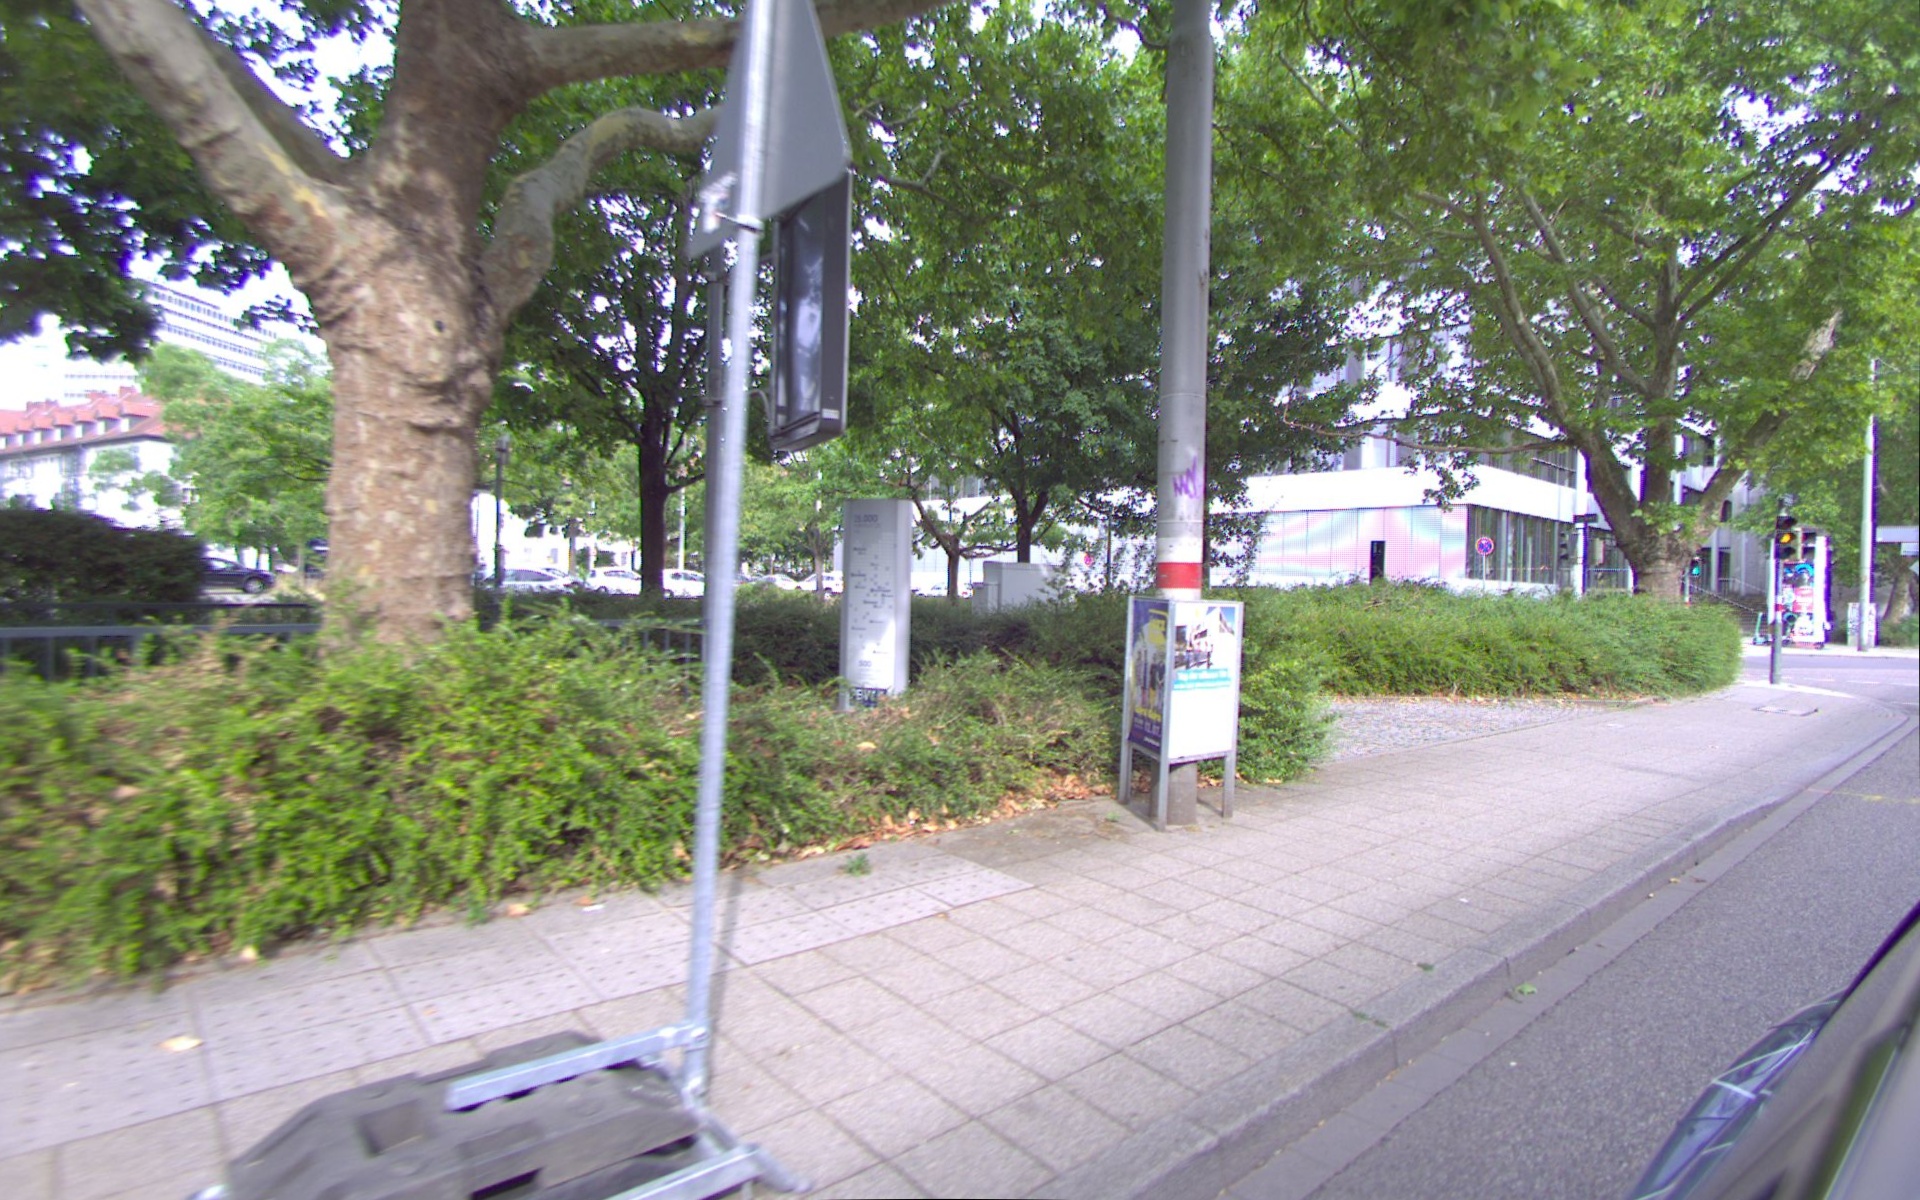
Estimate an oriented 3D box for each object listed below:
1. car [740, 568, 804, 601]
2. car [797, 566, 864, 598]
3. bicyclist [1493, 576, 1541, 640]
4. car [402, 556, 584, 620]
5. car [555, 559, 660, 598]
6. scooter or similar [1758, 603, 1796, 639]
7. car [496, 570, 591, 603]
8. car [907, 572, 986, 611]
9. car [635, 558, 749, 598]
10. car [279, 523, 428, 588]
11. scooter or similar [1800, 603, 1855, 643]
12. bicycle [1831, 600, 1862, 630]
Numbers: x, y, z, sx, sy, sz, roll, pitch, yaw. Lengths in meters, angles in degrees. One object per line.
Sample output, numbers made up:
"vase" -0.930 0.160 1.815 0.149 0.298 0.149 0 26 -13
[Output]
"car" -12.079 -0.987 65.033 3.981 2.039 1.971 0 -1 40
"car" -7.912 -1.064 61.633 3.861 1.885 1.925 0 -1 40
"bicyclist" 15.167 0.191 27.575 0.898 1.699 0.831 0 1 -37
"car" -14.289 -0.310 31.154 4.695 1.817 1.994 1 -1 -45
"car" -17.969 -1.054 51.728 4.694 1.817 1.995 1 -1 -44
"scooter or similar" 28.196 0.722 34.938 0.465 1.151 1.305 3 2 14
"car" -24.249 -0.736 59.010 4.695 1.817 1.994 1 -1 -45
"car" -0.741 -0.431 55.060 3.981 2.039 1.971 0 -1 40
"car" -12.283 -0.973 46.591 4.688 1.651 1.997 1 -1 -40
"car" -27.470 -1.935 45.977 5.405 2.647 2.436 1 -1 -44
"scooter or similar" 29.070 0.753 33.935 0.338 1.224 1.310 1 3 -36
"bicycle" 35.261 0.598 40.257 1.695 1.184 0.699 1 -1 -42
